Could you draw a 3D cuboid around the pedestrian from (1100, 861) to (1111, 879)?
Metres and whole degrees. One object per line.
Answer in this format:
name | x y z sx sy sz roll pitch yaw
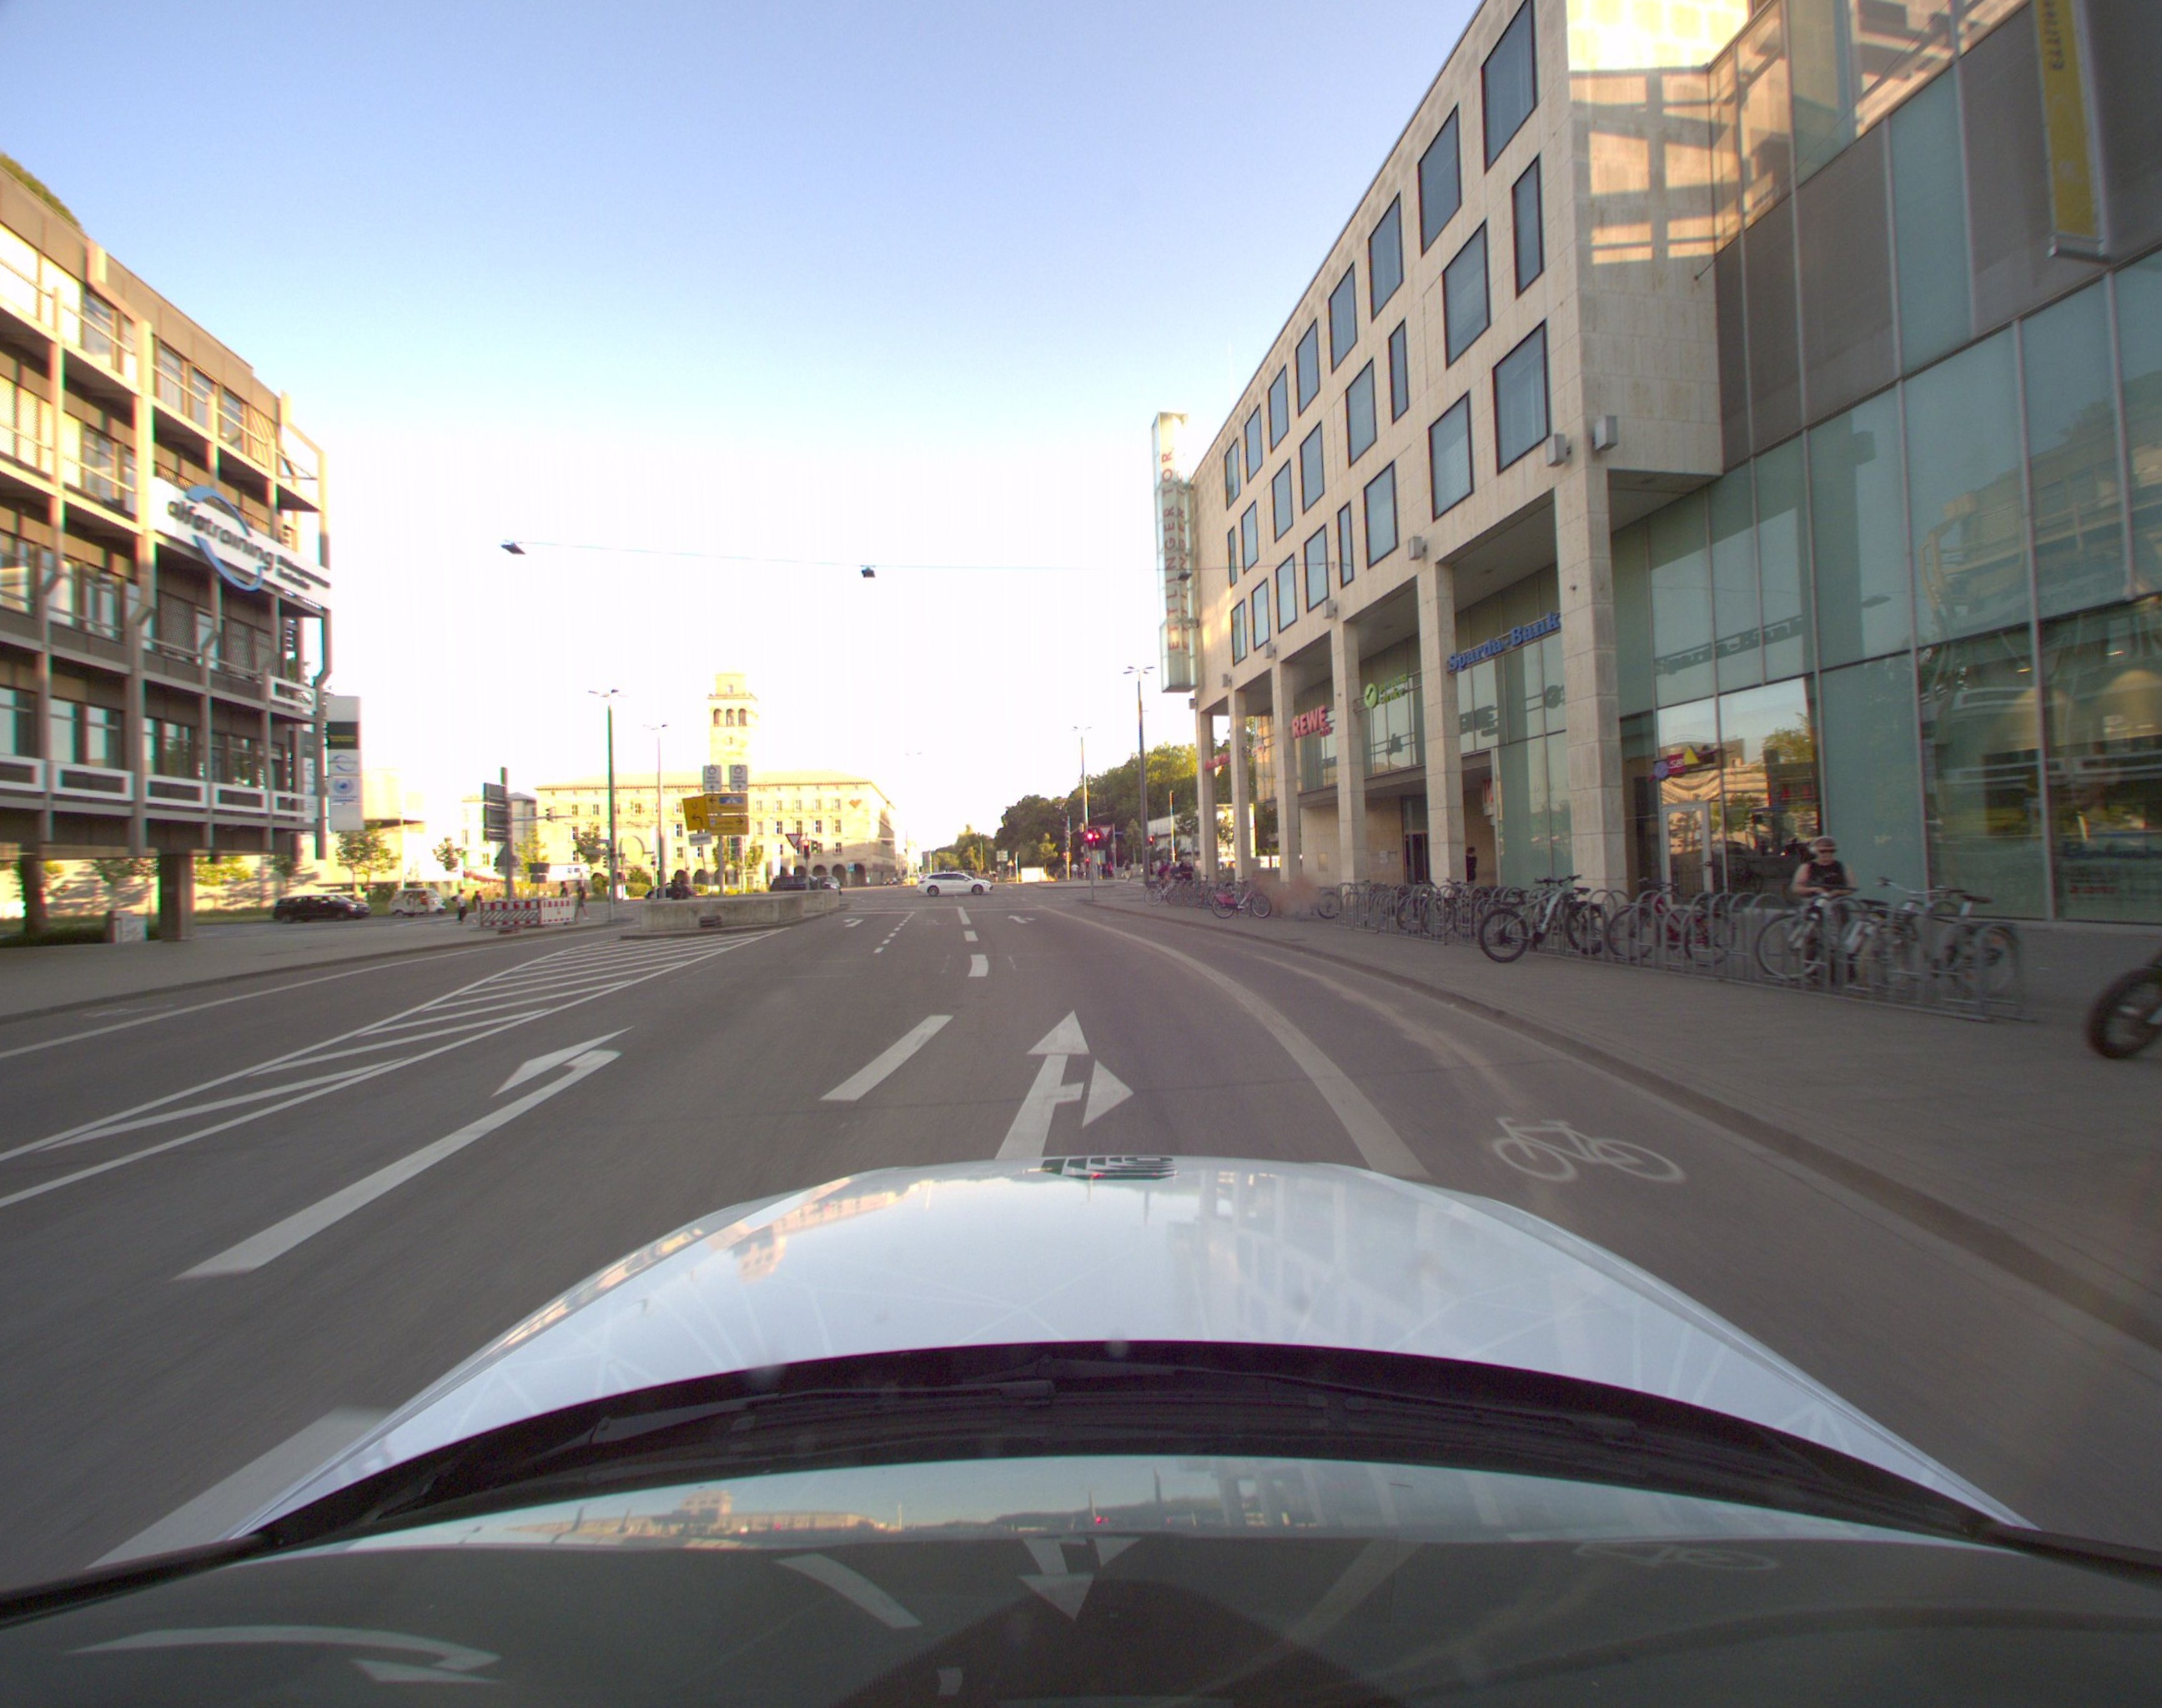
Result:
pedestrian | 2.339 1.516 77.041 0.808 1.730 0.685 -2 -1 -11

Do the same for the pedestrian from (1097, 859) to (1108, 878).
pedestrian | 2.091 1.395 78.604 0.692 1.730 0.801 -1 -1 -43

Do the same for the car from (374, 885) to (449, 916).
car | -40.867 2.797 49.788 3.145 1.685 1.599 -2 -1 -23

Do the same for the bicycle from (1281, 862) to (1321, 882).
bicycle | 13.220 1.076 48.970 2.241 1.062 0.651 -2 -1 -8

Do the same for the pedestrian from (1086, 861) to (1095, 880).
pedestrian | 0.885 1.564 77.738 0.805 1.730 0.688 -2 -1 3

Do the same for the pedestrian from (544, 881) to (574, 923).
pedestrian | -23.502 2.136 36.670 0.739 1.777 0.860 -5 0 -12

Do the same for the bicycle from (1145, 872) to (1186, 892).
bicycle | 4.919 1.613 47.285 2.242 1.062 0.651 -2 -1 -10

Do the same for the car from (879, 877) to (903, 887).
car | -35.513 5.145 152.408 1.974 1.662 4.026 -3 -1 35

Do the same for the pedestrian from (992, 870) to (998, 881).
pedestrian | -10.680 2.677 101.200 0.523 1.374 0.685 -2 -1 -13

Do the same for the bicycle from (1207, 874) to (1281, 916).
bicycle | 4.484 1.120 22.474 1.895 1.048 0.569 -2 -1 -5

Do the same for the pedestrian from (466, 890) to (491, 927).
pedestrian | -29.703 2.684 40.149 0.852 1.777 0.745 -5 -1 44

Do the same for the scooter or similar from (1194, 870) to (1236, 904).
scooter or similar | 4.794 1.171 29.173 1.276 1.160 0.671 -1 -1 -11

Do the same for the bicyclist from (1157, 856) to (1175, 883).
bicyclist | 4.930 0.905 47.299 0.879 1.531 0.651 -2 -1 -10

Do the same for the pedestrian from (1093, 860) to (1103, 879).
pedestrian | 1.598 1.493 77.018 0.805 1.730 0.688 -2 -1 3

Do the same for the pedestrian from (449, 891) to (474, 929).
pedestrian | -30.240 2.728 39.773 0.852 1.777 0.745 -5 -1 44

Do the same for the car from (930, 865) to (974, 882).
car | -12.617 1.931 79.839 3.994 1.453 1.533 -2 -1 -24

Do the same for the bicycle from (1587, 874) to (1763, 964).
bicycle | 7.732 0.827 10.635 1.984 1.129 0.555 0 -1 -5

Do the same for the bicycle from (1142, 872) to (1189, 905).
bicycle | 3.348 1.347 32.200 1.808 1.212 0.571 -2 -1 6

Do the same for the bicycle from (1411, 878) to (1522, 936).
bicycle | 6.912 0.939 14.612 1.809 0.936 0.514 -2 -1 -11

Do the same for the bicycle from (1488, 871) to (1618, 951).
bicycle | 7.350 0.870 12.691 1.763 1.129 0.515 -2 -1 -7

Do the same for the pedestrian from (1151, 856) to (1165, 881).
pedestrian | 5.335 1.005 56.679 0.888 1.730 0.689 -2 -1 6

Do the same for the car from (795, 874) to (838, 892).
car | -24.401 2.653 75.244 3.722 1.453 1.537 -2 -1 -16

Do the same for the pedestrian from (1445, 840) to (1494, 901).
pedestrian | 11.876 0.512 24.922 0.861 1.777 0.987 -3 -1 -11

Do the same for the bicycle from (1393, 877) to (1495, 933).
bicycle | 6.789 0.943 15.235 1.739 0.936 0.514 -2 -1 -11

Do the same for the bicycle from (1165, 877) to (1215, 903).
bicycle | 4.264 1.416 31.966 1.868 0.936 0.514 -2 -1 -11

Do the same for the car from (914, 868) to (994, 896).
car | -7.911 1.743 50.871 4.798 1.496 2.120 -2 -1 -10

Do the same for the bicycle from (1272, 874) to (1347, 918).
bicycle | 5.973 1.094 21.330 1.812 1.100 0.600 1 -1 -2

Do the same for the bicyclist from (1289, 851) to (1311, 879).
bicyclist | 13.172 0.636 48.975 1.019 1.621 0.652 -2 -1 -8

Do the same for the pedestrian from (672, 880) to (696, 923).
pedestrian | -17.039 2.012 34.952 0.743 1.777 0.854 -2 -1 -33

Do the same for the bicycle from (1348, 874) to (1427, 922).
bicycle | 7.104 1.002 18.863 1.709 1.023 0.596 -2 -1 -21

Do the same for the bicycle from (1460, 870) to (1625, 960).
bicycle | 6.377 0.825 11.293 1.984 1.129 0.569 -2 -1 -5

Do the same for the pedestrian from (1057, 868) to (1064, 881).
pedestrian | -2.840 2.787 111.471 0.808 1.730 0.925 -2 -1 -11

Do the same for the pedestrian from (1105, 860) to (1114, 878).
pedestrian | 2.744 1.441 77.900 0.806 1.730 0.687 -2 -1 -2

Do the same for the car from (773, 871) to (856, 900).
car | -16.121 1.898 49.448 4.461 1.496 2.120 -2 -1 -10

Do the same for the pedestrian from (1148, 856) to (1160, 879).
pedestrian | 5.713 1.062 63.421 0.831 1.730 0.689 -2 -1 6

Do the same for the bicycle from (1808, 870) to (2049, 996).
bicycle | 8.487 0.763 8.179 1.984 1.129 0.515 -2 -1 -5

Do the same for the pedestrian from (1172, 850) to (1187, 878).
pedestrian | 6.680 0.675 55.152 0.889 1.840 0.688 -2 -1 2

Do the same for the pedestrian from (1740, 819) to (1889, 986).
pedestrian | 8.091 0.517 9.020 0.833 1.735 0.819 -2 -1 -2

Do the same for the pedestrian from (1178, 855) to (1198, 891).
pedestrian | 5.514 0.957 41.994 0.756 1.777 0.738 -5 0 -9

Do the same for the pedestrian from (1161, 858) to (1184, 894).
pedestrian | 4.710 1.134 41.889 0.860 1.777 0.738 -5 0 -9

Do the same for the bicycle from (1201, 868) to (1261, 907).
bicycle | 5.034 1.114 27.423 1.868 1.260 0.671 0 -1 -11

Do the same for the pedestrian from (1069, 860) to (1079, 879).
pedestrian | -0.637 1.422 76.439 0.808 1.730 0.685 -2 -1 -11

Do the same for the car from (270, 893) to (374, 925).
car | -45.303 3.242 48.726 4.192 1.592 1.686 -2 -1 -18

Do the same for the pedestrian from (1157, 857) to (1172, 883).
pedestrian | 5.642 1.084 55.134 0.889 1.730 0.688 -2 -1 2

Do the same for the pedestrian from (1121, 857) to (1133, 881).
pedestrian | 3.427 1.112 60.965 0.691 1.730 0.739 -2 -1 -8

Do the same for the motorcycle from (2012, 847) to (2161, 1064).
motorcycle | 7.833 0.618 5.573 2.300 1.333 0.903 -2 -1 -13

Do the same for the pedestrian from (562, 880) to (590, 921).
pedestrian | -23.453 2.152 37.841 0.739 1.777 0.860 -5 0 -12

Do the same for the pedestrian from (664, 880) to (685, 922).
pedestrian | -17.652 2.024 35.361 0.743 1.777 0.855 -1 -1 -31

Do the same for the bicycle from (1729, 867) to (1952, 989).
bicycle | 8.097 0.763 8.706 1.984 1.179 0.515 -2 -1 -5

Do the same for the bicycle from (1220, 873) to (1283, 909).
bicycle | 5.362 1.154 25.679 1.869 1.113 0.569 0 -1 -7

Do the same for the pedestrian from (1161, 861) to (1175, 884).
pedestrian | 6.842 1.458 63.980 0.837 1.730 0.685 -2 -1 -13

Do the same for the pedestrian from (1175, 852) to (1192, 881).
pedestrian | 6.613 0.800 52.511 0.890 1.831 0.687 -2 -1 -1

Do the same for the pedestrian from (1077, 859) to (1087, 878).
pedestrian | 0.095 1.395 76.806 0.808 1.730 0.685 -2 -1 -11
